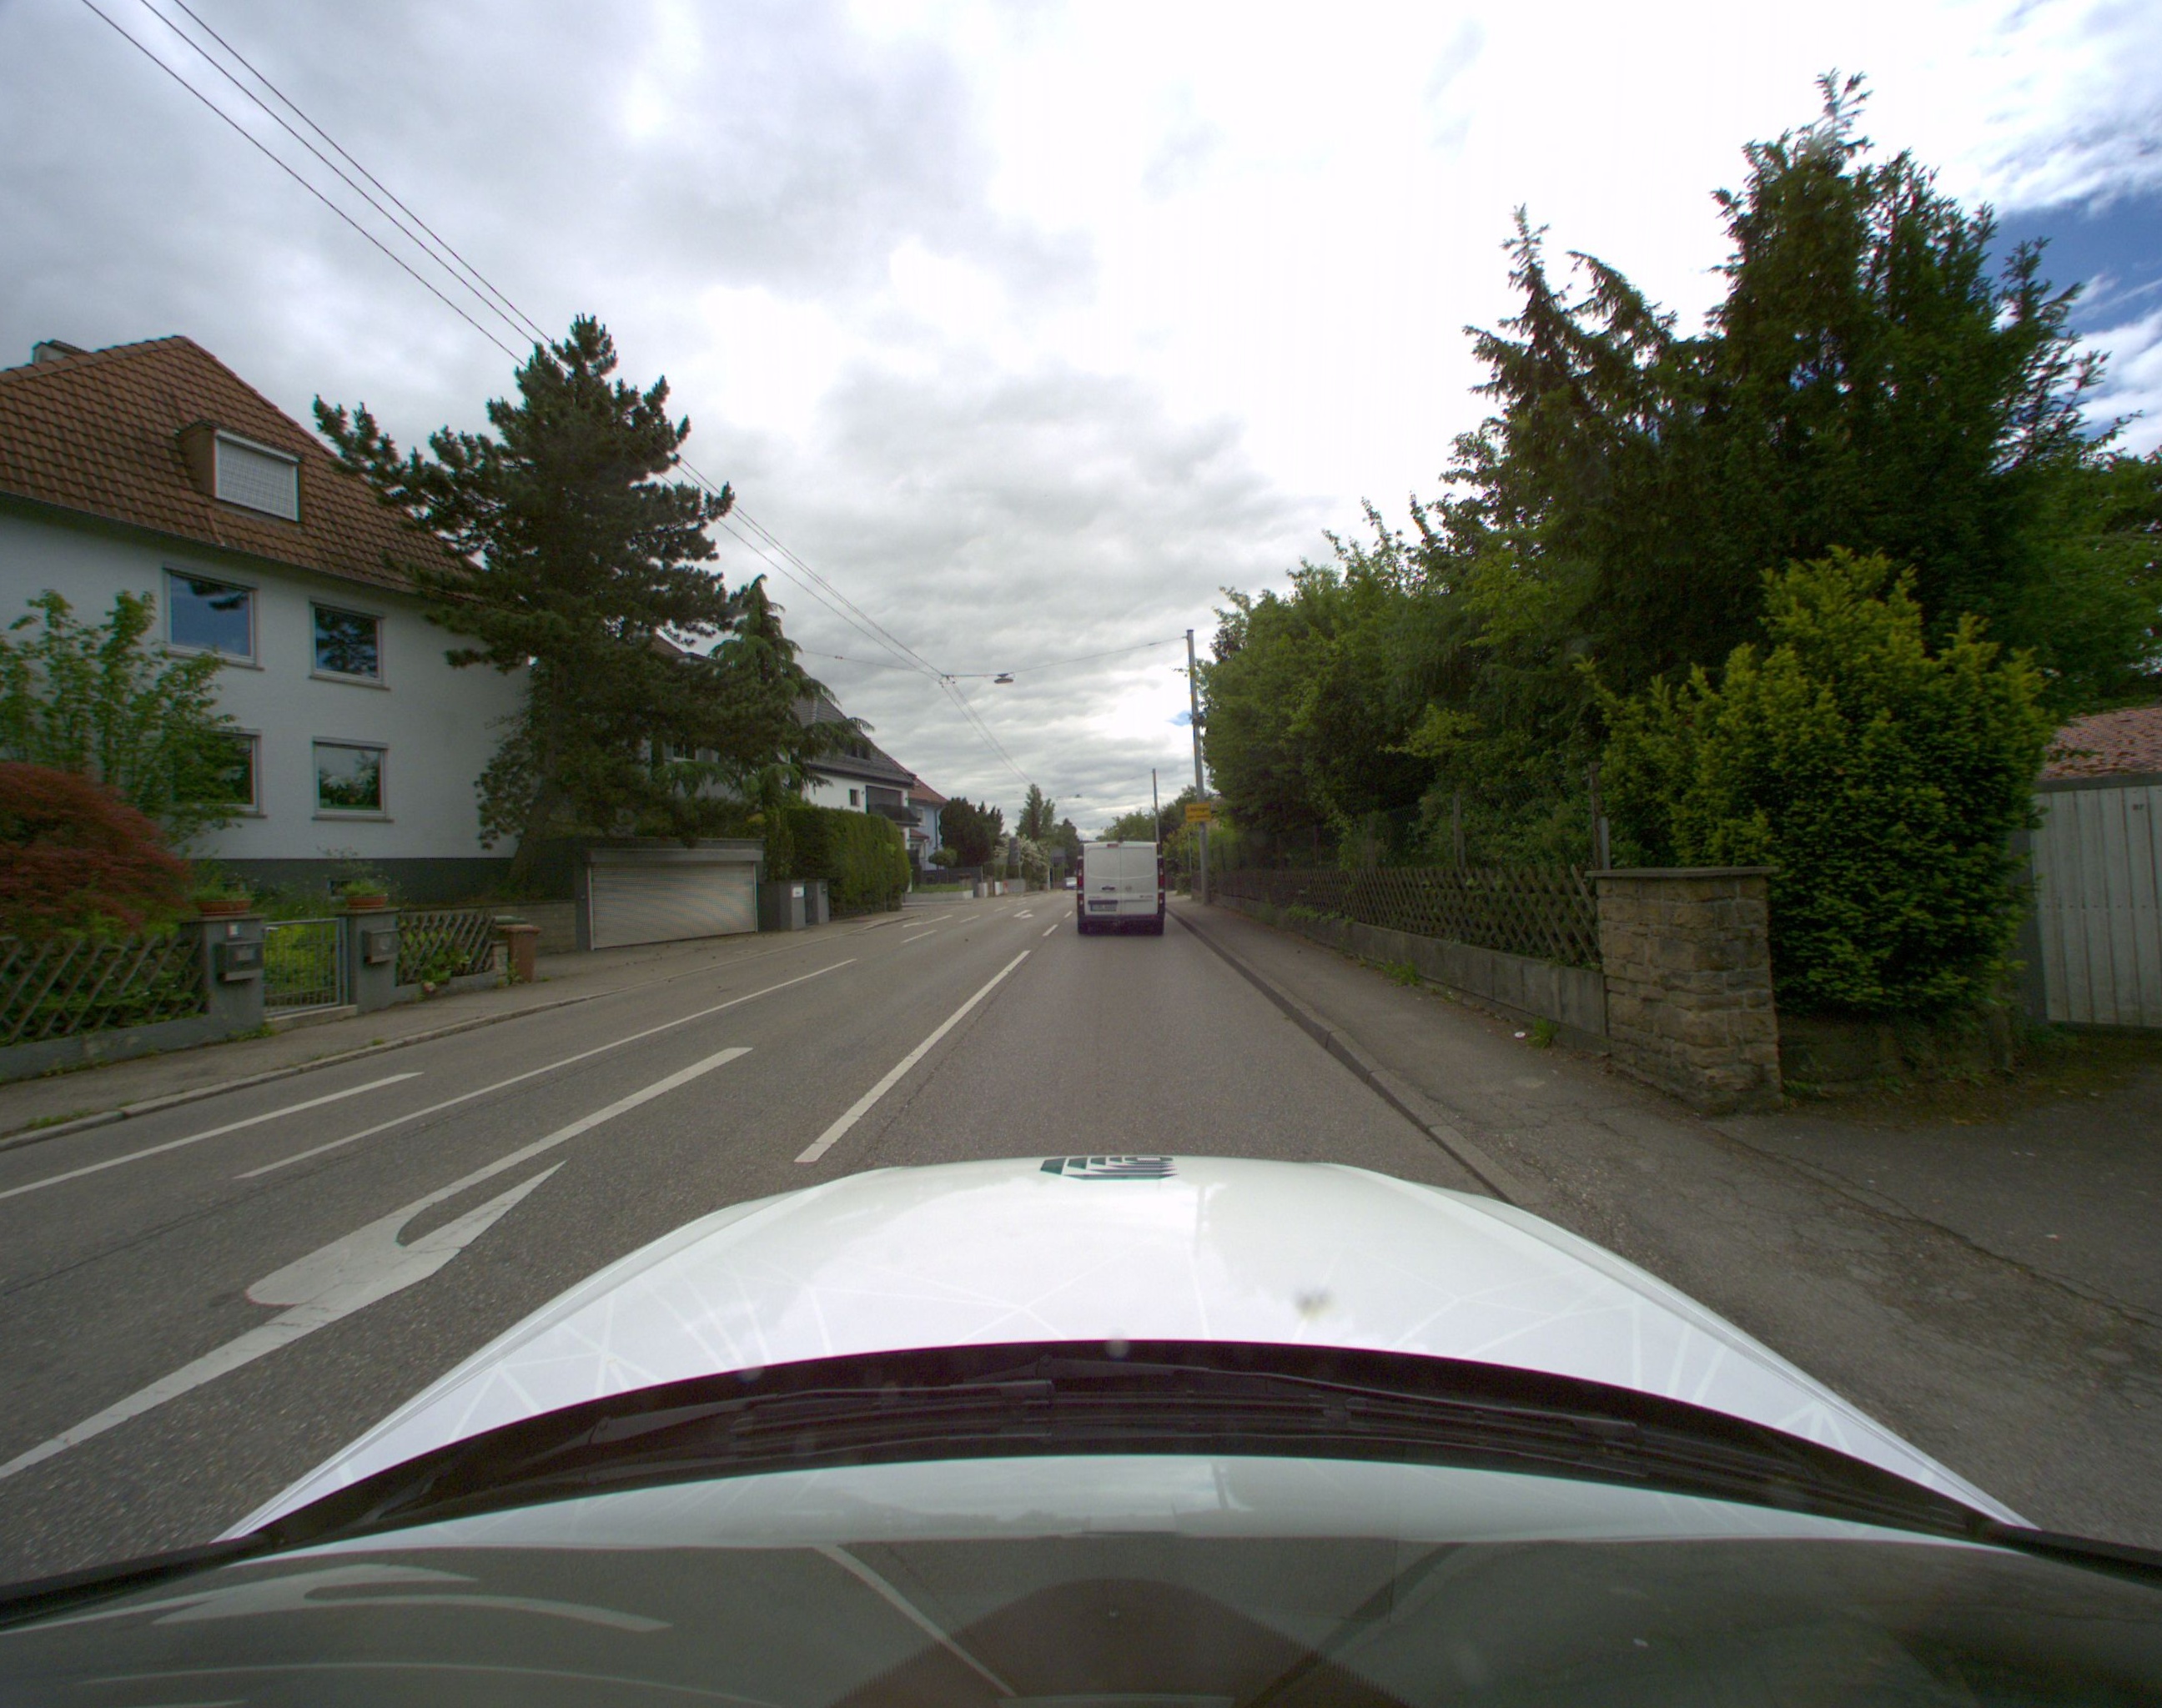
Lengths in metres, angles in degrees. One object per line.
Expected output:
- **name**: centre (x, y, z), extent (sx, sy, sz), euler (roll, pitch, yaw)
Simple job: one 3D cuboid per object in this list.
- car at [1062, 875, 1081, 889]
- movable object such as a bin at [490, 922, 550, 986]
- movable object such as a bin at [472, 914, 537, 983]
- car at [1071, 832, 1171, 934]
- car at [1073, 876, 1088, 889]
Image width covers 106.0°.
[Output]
- **car**: centre (-1.102, 3.187, 92.970), extent (1.802, 1.455, 4.415), euler (-5, -2, 2)
- **movable object such as a bin**: centre (-8.922, 1.574, 12.957), extent (0.459, 0.942, 0.651), euler (-2, -1, 31)
- **movable object such as a bin**: centre (-9.369, 1.526, 13.254), extent (0.474, 1.035, 0.721), euler (-2, -1, 31)
- **car**: centre (0.922, 0.614, 18.954), extent (1.998, 2.038, 5.013), euler (-1, -1, 2)
- **car**: centre (-0.091, 3.763, 107.858), extent (1.672, 1.556, 3.974), euler (-4, -2, 3)
